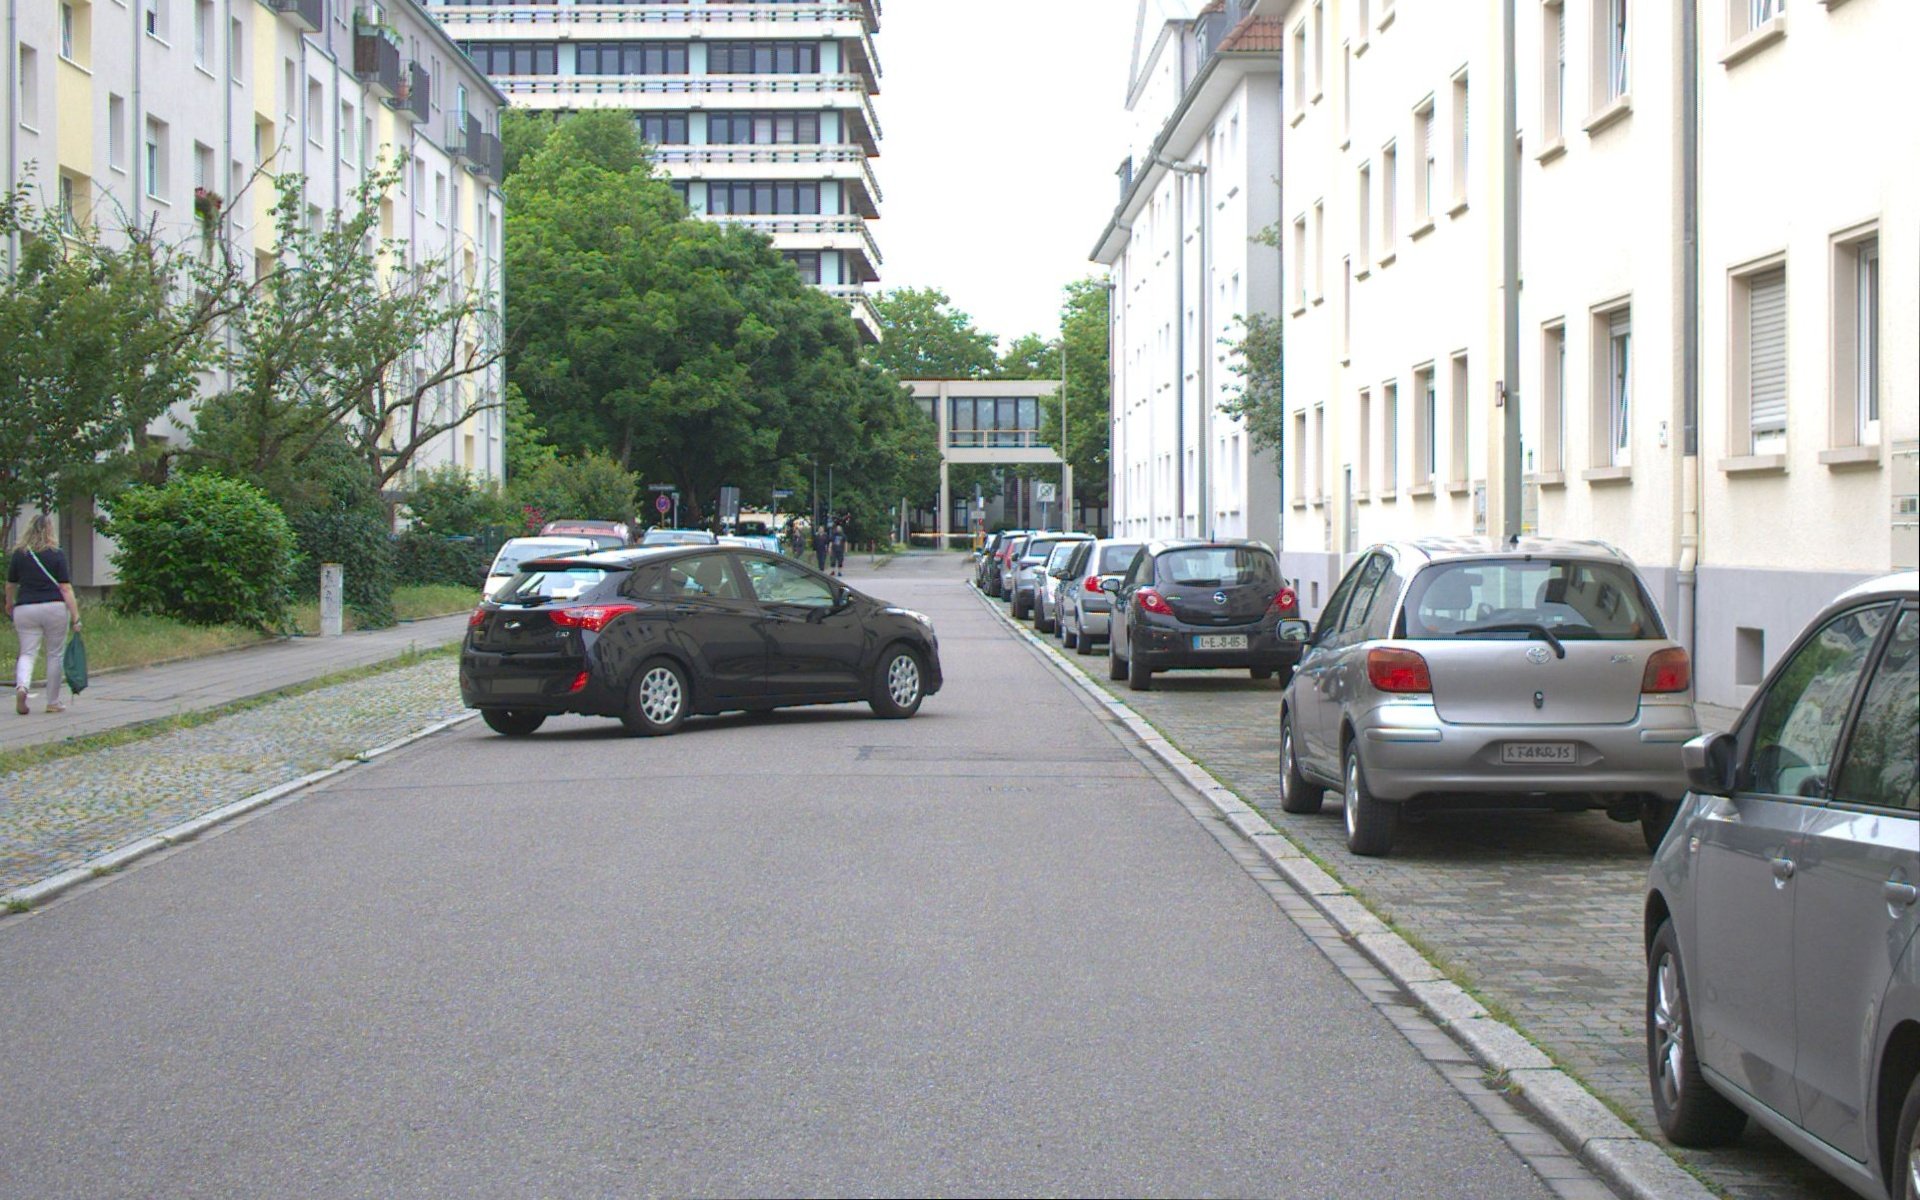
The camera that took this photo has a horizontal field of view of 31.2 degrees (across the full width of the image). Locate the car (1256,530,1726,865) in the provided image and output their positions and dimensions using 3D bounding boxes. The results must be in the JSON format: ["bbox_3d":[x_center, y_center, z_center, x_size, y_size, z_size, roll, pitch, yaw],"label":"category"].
[{"bbox_3d":[2.594,0.401,17.681,1.725,1.512,4.061,0,1,-1],"label":"car"}]

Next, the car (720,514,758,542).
[{"bbox_3d":[-10.683,-3.500,166.467,1.665,1.328,3.396,0,2,-1],"label":"car"}]

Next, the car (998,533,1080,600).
[{"bbox_3d":[1.824,-0.801,80.165,1.820,1.498,4.091,1,1,0],"label":"car"}]

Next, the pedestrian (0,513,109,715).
[{"bbox_3d":[-7.374,0.103,27.798,0.799,1.604,0.947,0,1,-5],"label":"pedestrian"}]

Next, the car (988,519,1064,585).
[{"bbox_3d":[1.613,-1.199,85.206,1.820,1.597,4.091,0,1,0],"label":"car"}]

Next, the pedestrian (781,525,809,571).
[{"bbox_3d":[-6.033,-1.915,126.091,0.972,1.648,0.981,-1,1,-1],"label":"pedestrian"}]

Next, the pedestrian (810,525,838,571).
[{"bbox_3d":[-4.948,-1.883,125.198,0.972,1.648,0.981,-1,1,-1],"label":"pedestrian"}]

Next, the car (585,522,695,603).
[{"bbox_3d":[-5.972,-0.730,64.471,1.744,1.459,3.786,0,1,-1],"label":"car"}]

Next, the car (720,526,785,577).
[{"bbox_3d":[-6.525,-1.544,108.281,1.993,1.535,4.001,1,1,-3],"label":"car"}]

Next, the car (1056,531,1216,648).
[{"bbox_3d":[2.244,-0.170,44.785,1.848,1.445,3.833,0,1,-1],"label":"car"}]

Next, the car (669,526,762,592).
[{"bbox_3d":[-5.768,-0.993,81.487,1.895,1.447,4.521,2,1,-1],"label":"car"}]

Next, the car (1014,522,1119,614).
[{"bbox_3d":[1.955,-0.623,64.105,1.820,1.636,4.091,1,1,0],"label":"car"}]

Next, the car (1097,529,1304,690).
[{"bbox_3d":[2.361,0.047,34.580,1.725,1.512,4.061,0,1,-1],"label":"car"}]

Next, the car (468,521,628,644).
[{"bbox_3d":[-5.580,-0.270,46.980,1.720,1.564,3.870,2,1,-1],"label":"car"}]

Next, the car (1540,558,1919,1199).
[{"bbox_3d":[2.507,0.679,7.515,1.725,1.487,4.061,0,1,-1],"label":"car"}]

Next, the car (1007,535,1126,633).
[{"bbox_3d":[1.677,-0.287,55.247,1.725,1.471,4.505,1,1,0],"label":"car"}]

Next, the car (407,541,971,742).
[{"bbox_3d":[-2.065,0.265,27.080,1.908,1.428,4.222,1,2,44],"label":"car"}]

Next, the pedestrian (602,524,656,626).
[{"bbox_3d":[-5.584,-0.424,57.970,0.740,1.696,0.796,-1,1,-18],"label":"pedestrian"}]

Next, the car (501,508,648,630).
[{"bbox_3d":[-5.882,-0.500,52.813,1.956,1.764,4.362,1,1,-3],"label":"car"}]
